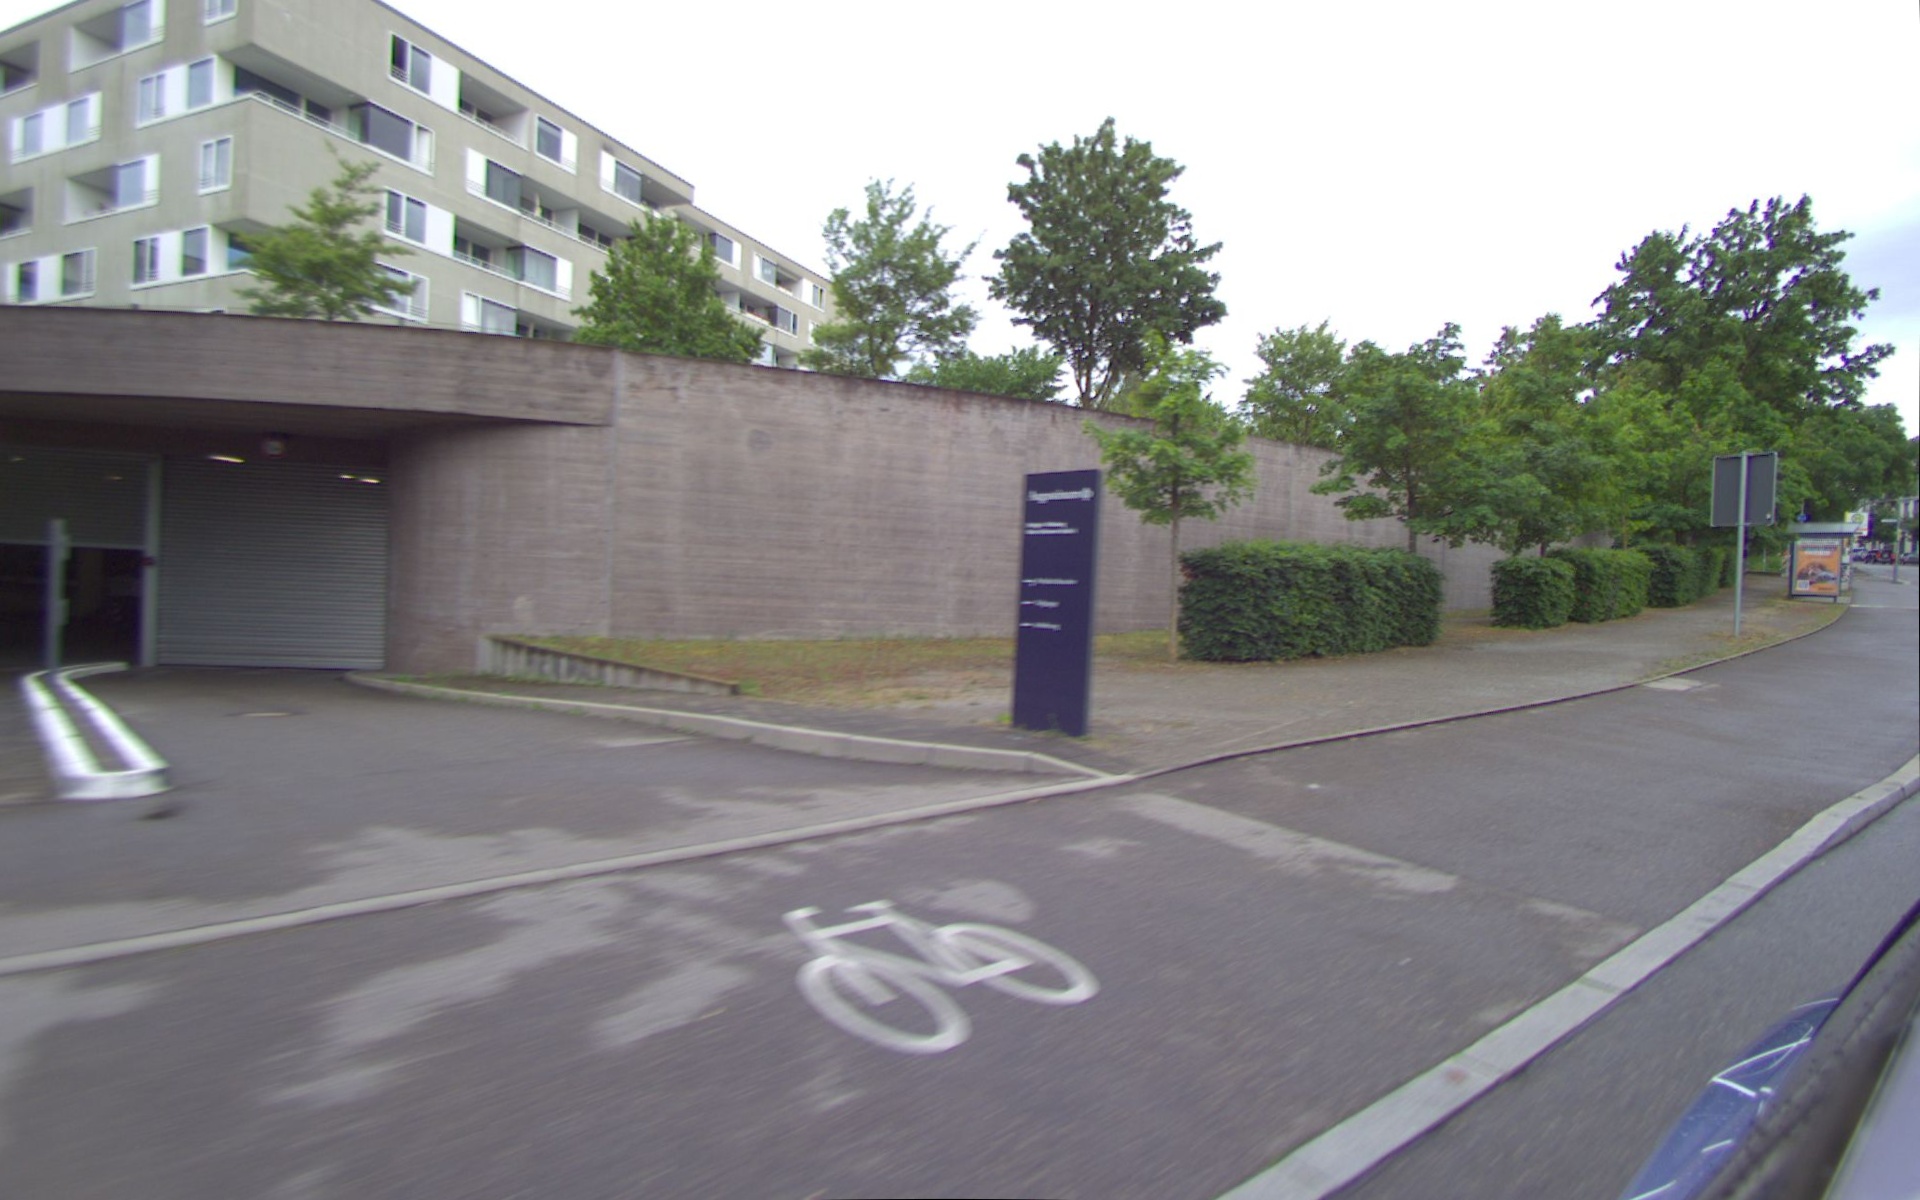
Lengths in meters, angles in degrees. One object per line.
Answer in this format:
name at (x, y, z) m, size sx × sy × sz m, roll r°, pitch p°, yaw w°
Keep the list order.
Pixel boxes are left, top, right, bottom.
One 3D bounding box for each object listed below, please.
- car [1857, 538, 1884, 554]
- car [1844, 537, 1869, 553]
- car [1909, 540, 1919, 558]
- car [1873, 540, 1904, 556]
car at (124.296, -7.357, 138.163) m, size 1.910 × 2.039 × 4.338 m, roll 0°, pitch 1°, yaw 31°
car at (127.868, -7.826, 144.321) m, size 1.910 × 2.039 × 4.338 m, roll 0°, pitch 1°, yaw 31°
car at (116.437, -6.168, 122.147) m, size 1.910 × 2.039 × 4.338 m, roll 0°, pitch 1°, yaw 31°
car at (114.084, -6.379, 124.372) m, size 1.951 × 1.861 × 4.400 m, roll 2°, pitch 3°, yaw 32°
